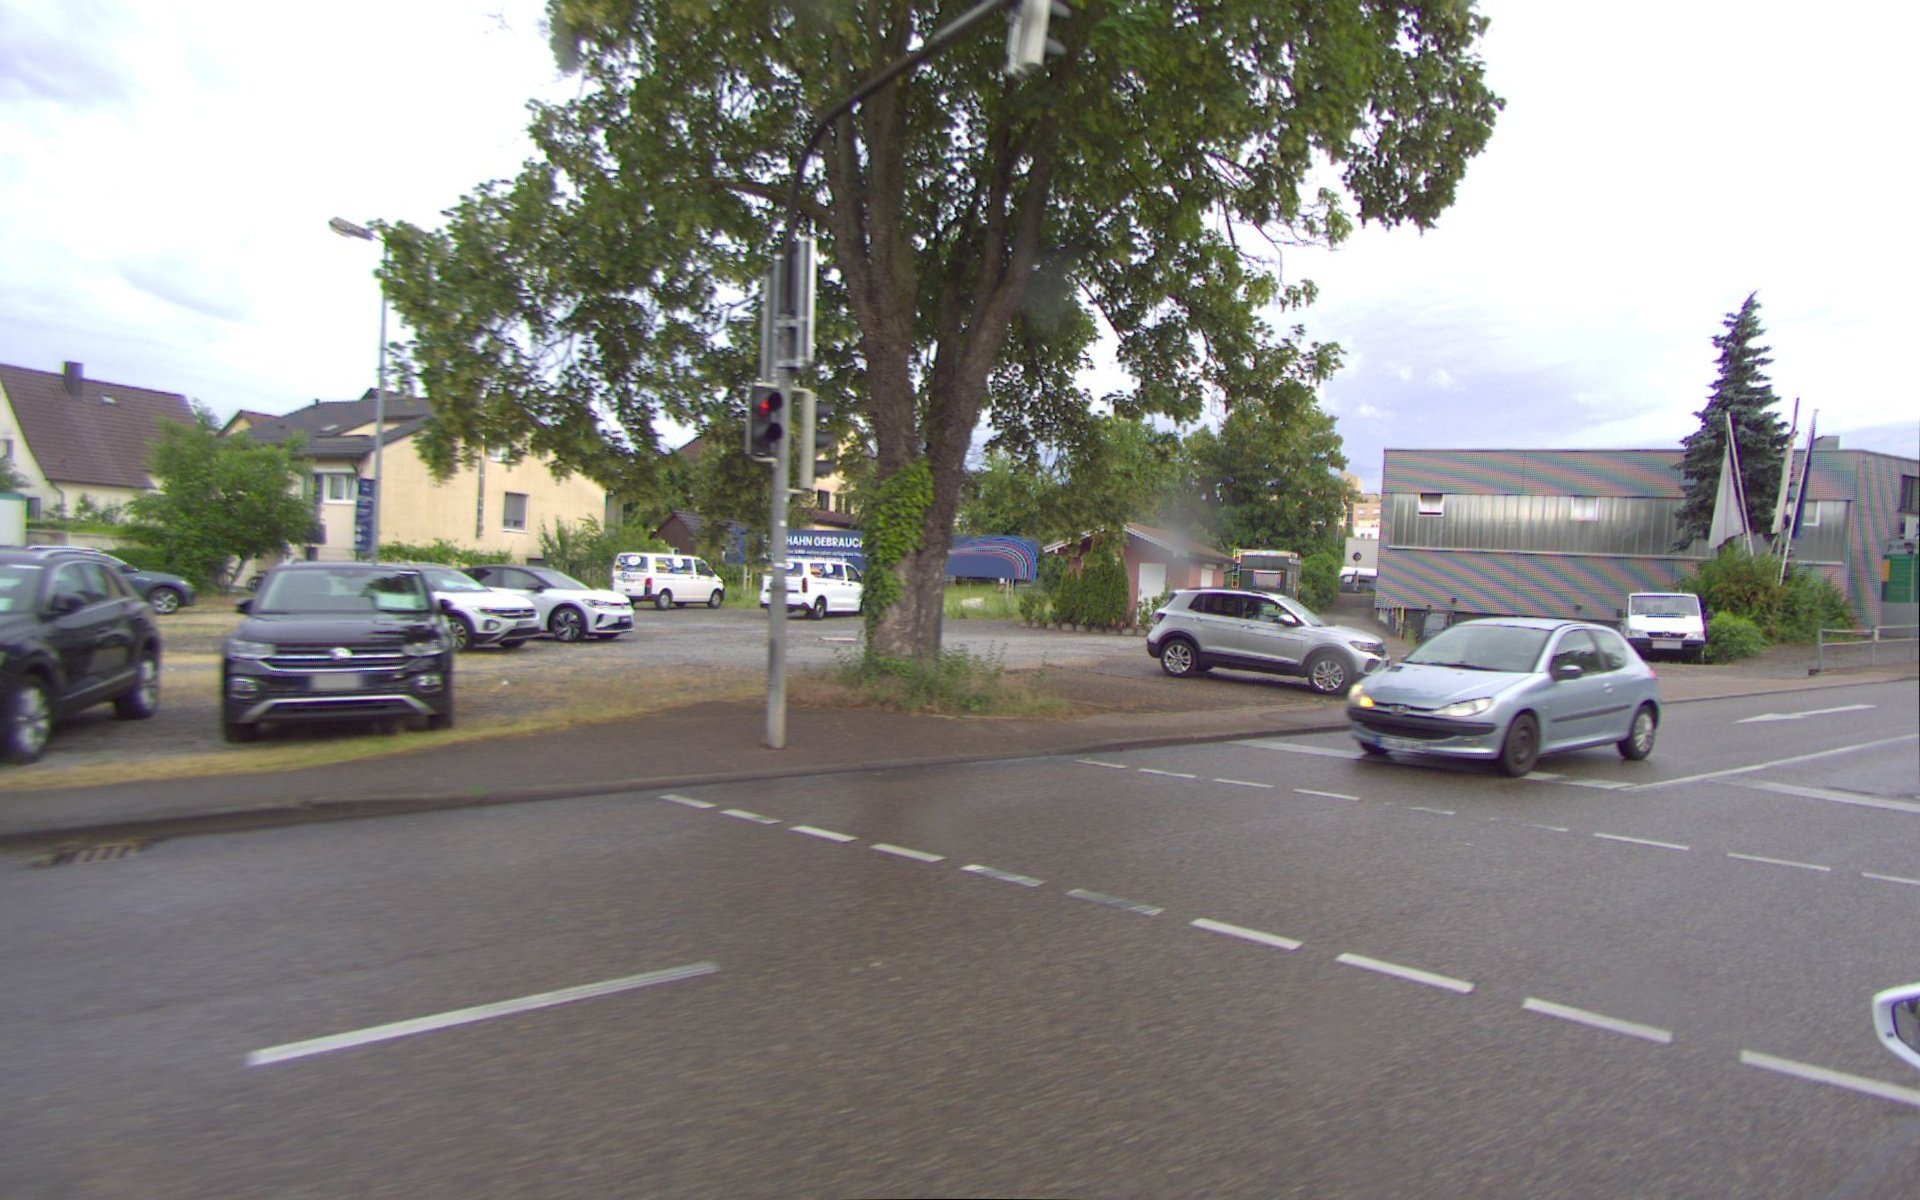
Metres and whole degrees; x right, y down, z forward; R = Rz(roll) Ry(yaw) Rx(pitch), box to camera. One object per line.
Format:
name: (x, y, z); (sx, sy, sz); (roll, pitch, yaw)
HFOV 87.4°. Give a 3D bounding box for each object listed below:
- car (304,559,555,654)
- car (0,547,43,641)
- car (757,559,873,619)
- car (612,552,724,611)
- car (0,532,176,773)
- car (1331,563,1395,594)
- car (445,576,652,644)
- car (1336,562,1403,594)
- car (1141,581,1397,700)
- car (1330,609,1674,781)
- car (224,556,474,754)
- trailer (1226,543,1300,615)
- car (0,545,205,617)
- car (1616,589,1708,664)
car: (-9.805, 0.082, 18.672); (3.919, 1.576, 1.713); (2, 2, 12)
car: (-16.544, -0.184, 15.076); (1.562, 1.483, 3.768); (2, -2, 29)
car: (-4.932, -0.410, 34.772); (1.961, 1.896, 4.449); (2, 2, 22)
car: (-10.668, -0.675, 36.998); (1.690, 2.000, 4.191); (2, 2, 22)
car: (-7.889, 0.331, 7.993); (1.733, 1.576, 3.975); (0, 0, -25)
car: (33.457, -1.789, 83.482); (4.578, 2.336, 2.235); (3, 2, 30)
car: (-9.020, 0.180, 22.115); (3.919, 1.331, 1.713); (2, 2, 12)
car: (32.301, -1.747, 79.243); (4.578, 2.336, 2.044); (3, 2, 30)
car: (5.373, 0.618, 17.547); (3.927, 1.542, 1.757); (6, 4, 28)
car: (5.643, 0.834, 10.343); (3.669, 1.423, 1.577); (0, 2, -34)
car: (-5.910, 0.368, 9.911); (1.736, 1.530, 3.967); (0, 2, -30)
trailer: (12.983, -0.885, 42.819); (2.567, 2.800, 5.025); (3, 1, 21)
car: (-20.857, -0.466, 24.145); (1.722, 1.573, 3.990); (2, 2, 31)
car: (20.786, 0.700, 29.890); (1.965, 2.021, 3.989); (2, 2, 32)
